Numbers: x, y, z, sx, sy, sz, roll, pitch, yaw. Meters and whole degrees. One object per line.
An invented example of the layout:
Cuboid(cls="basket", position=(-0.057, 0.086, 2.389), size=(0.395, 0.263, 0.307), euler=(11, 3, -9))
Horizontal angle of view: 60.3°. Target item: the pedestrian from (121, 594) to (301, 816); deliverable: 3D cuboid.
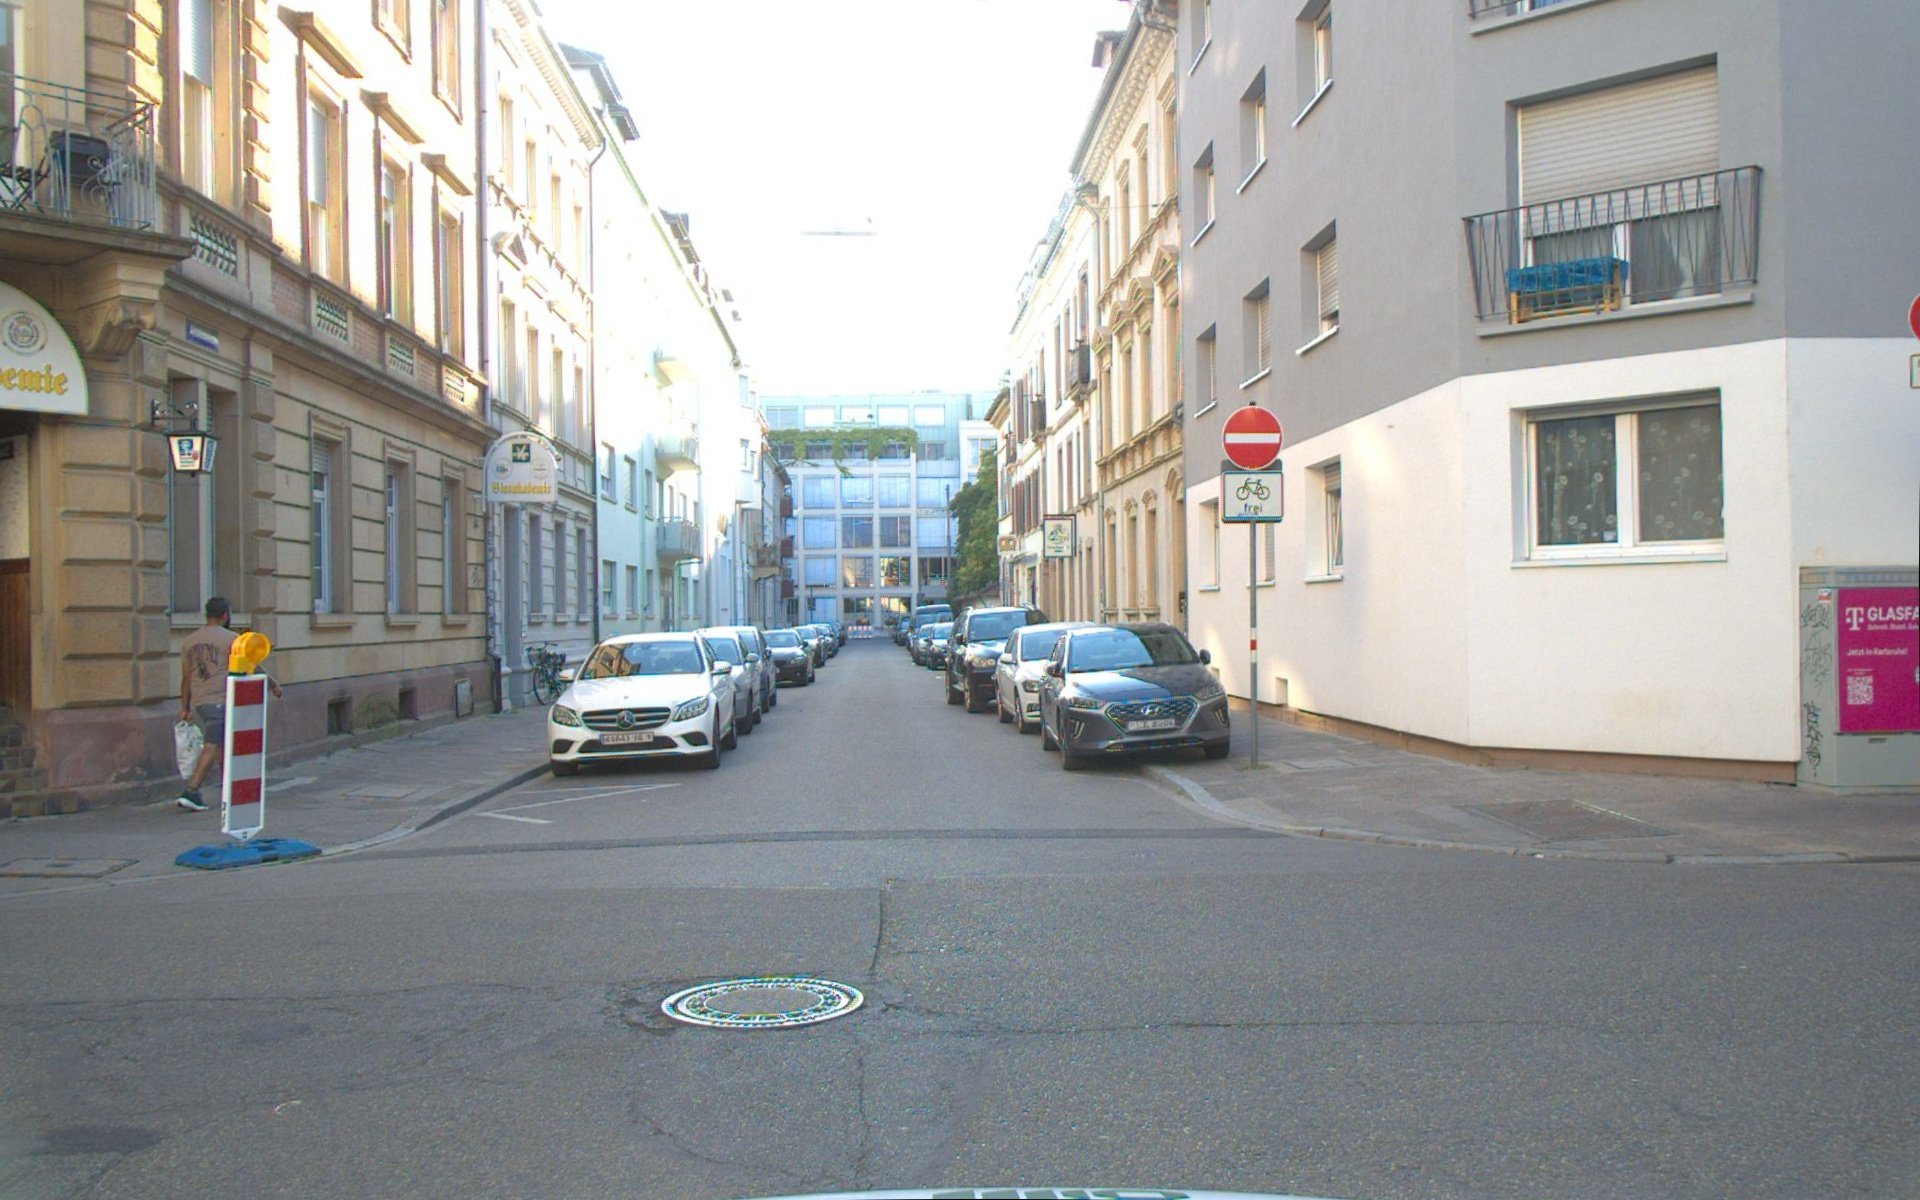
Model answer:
Cuboid(cls="pedestrian", position=(-6.268, 0.843, 13.864), size=(0.963, 1.773, 1.014), euler=(-1, -1, 32))

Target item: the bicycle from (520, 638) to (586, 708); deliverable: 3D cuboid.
Cuboid(cls="bicycle", position=(-7.391, 1.302, 30.124), size=(0.723, 1.181, 2.459), euler=(-1, 0, -3))

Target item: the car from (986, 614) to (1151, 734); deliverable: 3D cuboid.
Cuboid(cls="car", position=(1.497, 1.013, 24.246), size=(1.925, 1.584, 3.886), euler=(-1, 0, -4))

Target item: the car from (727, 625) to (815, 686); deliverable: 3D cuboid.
Cuboid(cls="car", position=(-4.718, 1.361, 41.828), size=(1.954, 1.378, 4.425), euler=(-1, 0, -4))

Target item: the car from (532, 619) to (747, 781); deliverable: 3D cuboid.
Cuboid(cls="car", position=(-3.570, 1.043, 19.205), size=(1.955, 1.592, 4.501), euler=(-1, 0, -5))

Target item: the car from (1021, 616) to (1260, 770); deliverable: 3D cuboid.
Cuboid(cls="car", position=(1.855, 0.933, 18.191), size=(1.900, 1.396, 3.785), euler=(-3, 0, -4))

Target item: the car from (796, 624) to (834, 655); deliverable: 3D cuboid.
Cuboid(cls="car", position=(-6.700, 1.802, 76.608), size=(1.673, 1.325, 3.996), euler=(-1, 0, -4))

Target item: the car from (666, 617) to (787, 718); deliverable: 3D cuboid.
Cuboid(cls="car", position=(-4.215, 1.184, 30.319), size=(1.749, 1.688, 3.815), euler=(-1, 0, -2))

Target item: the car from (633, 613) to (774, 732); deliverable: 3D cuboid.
Cuboid(cls="car", position=(-3.737, 1.004, 24.604), size=(1.592, 1.604, 3.752), euler=(-1, 0, -2))

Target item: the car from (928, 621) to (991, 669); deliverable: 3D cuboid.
Cuboid(cls="car", position=(-0.052, 1.451, 54.736), size=(1.953, 1.476, 3.998), euler=(-1, 0, -2))

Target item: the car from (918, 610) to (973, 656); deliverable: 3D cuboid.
Cuboid(cls="car", position=(-0.597, 1.288, 65.406), size=(1.954, 1.730, 3.997), euler=(-1, 0, -4))

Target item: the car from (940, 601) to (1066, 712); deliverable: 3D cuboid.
Cuboid(cls="car", position=(0.704, 0.959, 29.625), size=(1.856, 1.815, 3.996), euler=(-1, 0, -4))

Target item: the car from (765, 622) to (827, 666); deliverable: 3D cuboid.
Cuboid(cls="car", position=(-5.876, 1.554, 59.540), size=(2.131, 1.443, 3.995), euler=(-1, 0, -5))
